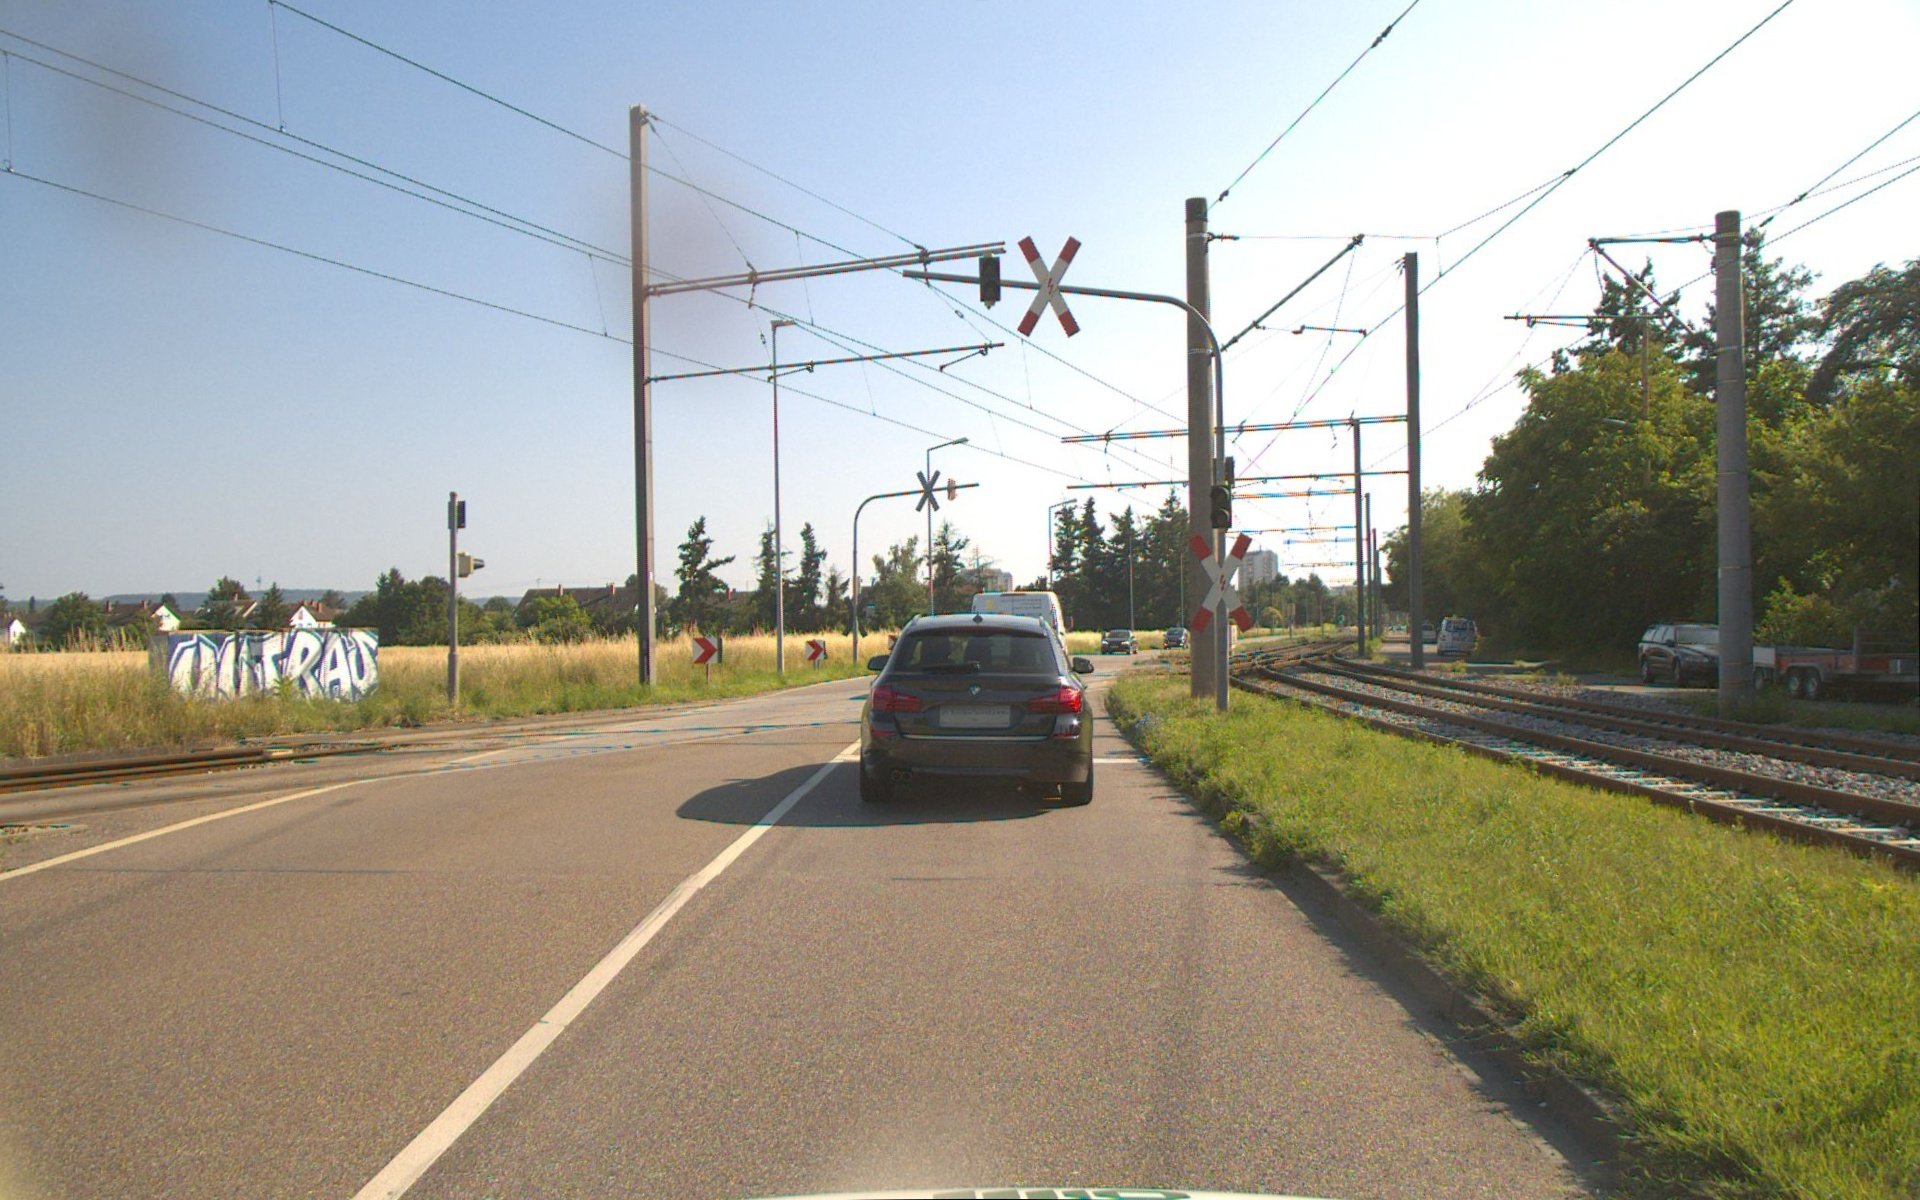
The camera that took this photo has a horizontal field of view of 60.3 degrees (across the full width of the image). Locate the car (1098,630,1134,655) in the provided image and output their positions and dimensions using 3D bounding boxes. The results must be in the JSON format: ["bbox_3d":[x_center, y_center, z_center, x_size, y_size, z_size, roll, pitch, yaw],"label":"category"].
[{"bbox_3d":[9.489,2.579,100.427,1.657,1.465,4.287,0,-1,12],"label":"car"}]

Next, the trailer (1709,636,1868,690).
[{"bbox_3d":[16.975,1.261,34.070,1.695,0.956,3.730,2,-1,6],"label":"trailer"}]

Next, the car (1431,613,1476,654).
[{"bbox_3d":[25.922,1.741,86.985,1.951,2.039,5.070,2,-1,14],"label":"car"}]

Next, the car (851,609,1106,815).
[{"bbox_3d":[0.129,0.819,14.292,1.831,1.478,4.743,0,0,0],"label":"car"}]

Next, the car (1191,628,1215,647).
[{"bbox_3d":[21.394,3.299,145.610,1.676,1.576,3.931,-1,-1,14],"label":"car"}]

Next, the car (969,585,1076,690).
[{"bbox_3d":[1.379,0.754,34.433,1.818,2.023,5.111,0,-1,7],"label":"car"}]

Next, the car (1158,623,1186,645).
[{"bbox_3d":[16.808,2.663,131.141,1.670,1.694,4.593,-1,-1,14],"label":"car"}]

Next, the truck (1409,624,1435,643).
[{"bbox_3d":[44.708,3.228,160.165,2.157,1.851,5.933,-1,-1,14],"label":"truck"}]

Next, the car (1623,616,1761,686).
[{"bbox_3d":[17.140,1.143,38.975,1.662,1.482,4.884,2,0,8],"label":"car"}]

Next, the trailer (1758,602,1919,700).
[{"bbox_3d":[16.392,0.912,30.065,1.984,1.624,4.262,2,-1,5],"label":"trailer"}]
